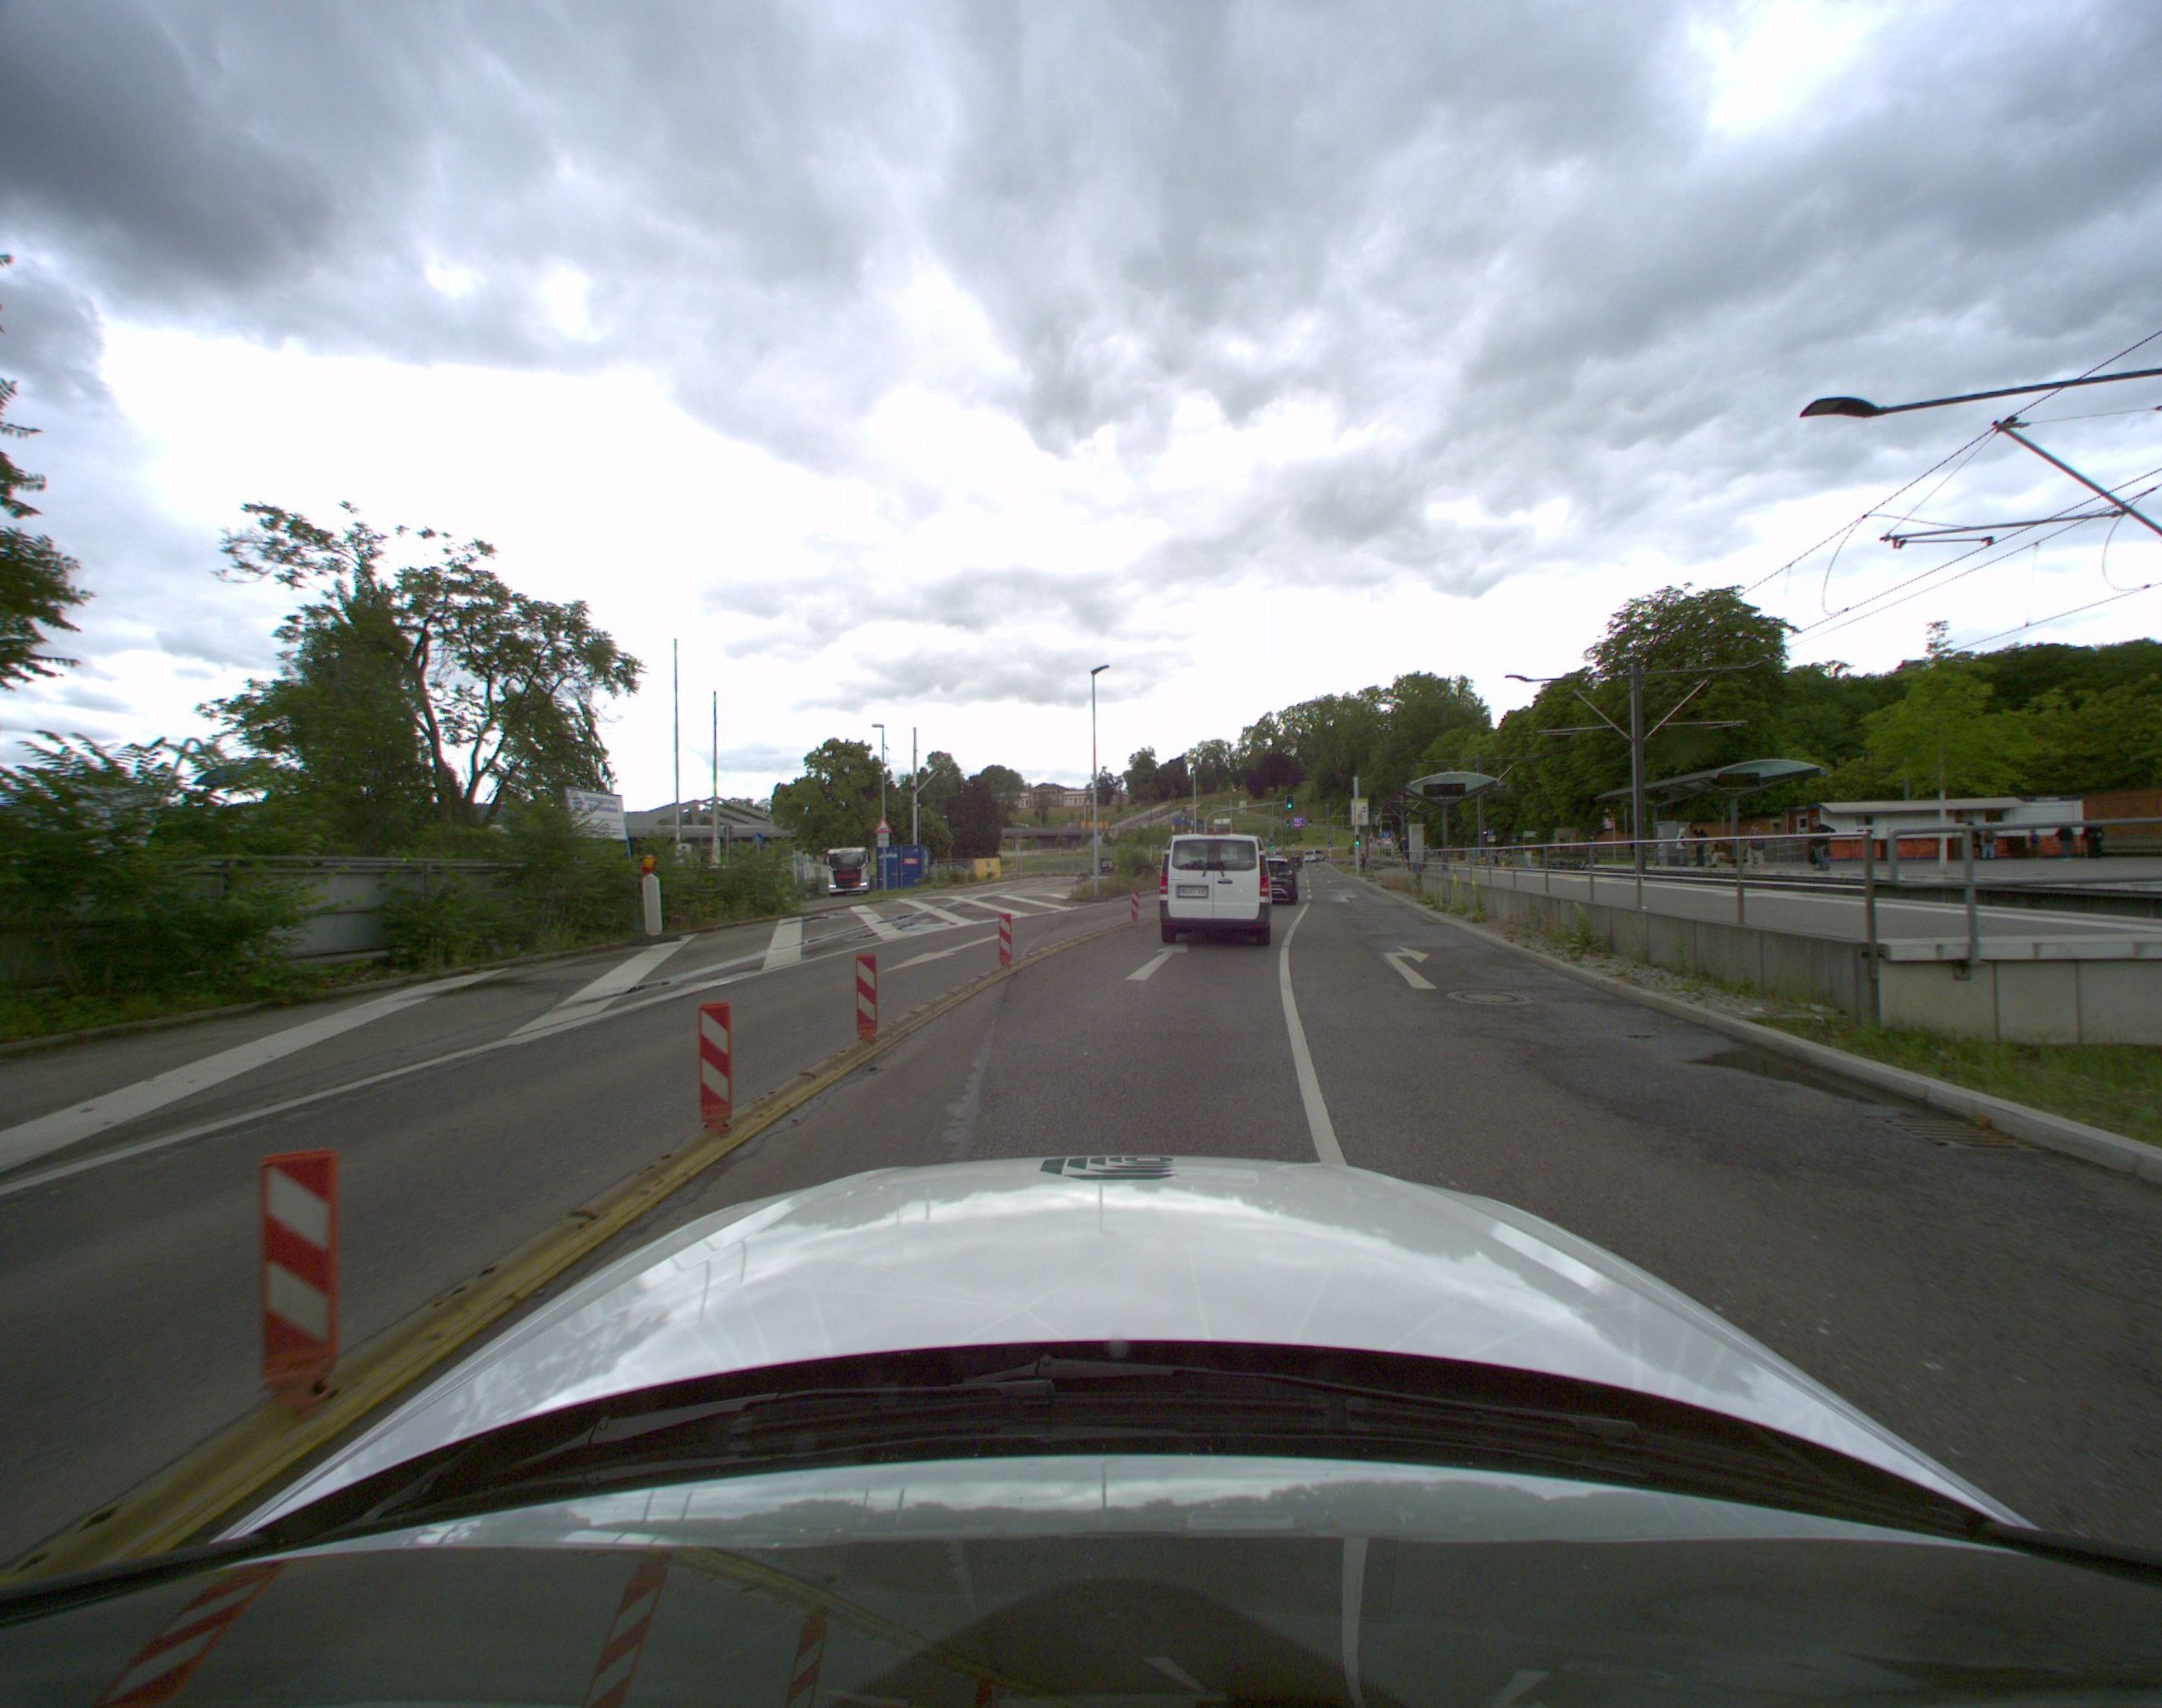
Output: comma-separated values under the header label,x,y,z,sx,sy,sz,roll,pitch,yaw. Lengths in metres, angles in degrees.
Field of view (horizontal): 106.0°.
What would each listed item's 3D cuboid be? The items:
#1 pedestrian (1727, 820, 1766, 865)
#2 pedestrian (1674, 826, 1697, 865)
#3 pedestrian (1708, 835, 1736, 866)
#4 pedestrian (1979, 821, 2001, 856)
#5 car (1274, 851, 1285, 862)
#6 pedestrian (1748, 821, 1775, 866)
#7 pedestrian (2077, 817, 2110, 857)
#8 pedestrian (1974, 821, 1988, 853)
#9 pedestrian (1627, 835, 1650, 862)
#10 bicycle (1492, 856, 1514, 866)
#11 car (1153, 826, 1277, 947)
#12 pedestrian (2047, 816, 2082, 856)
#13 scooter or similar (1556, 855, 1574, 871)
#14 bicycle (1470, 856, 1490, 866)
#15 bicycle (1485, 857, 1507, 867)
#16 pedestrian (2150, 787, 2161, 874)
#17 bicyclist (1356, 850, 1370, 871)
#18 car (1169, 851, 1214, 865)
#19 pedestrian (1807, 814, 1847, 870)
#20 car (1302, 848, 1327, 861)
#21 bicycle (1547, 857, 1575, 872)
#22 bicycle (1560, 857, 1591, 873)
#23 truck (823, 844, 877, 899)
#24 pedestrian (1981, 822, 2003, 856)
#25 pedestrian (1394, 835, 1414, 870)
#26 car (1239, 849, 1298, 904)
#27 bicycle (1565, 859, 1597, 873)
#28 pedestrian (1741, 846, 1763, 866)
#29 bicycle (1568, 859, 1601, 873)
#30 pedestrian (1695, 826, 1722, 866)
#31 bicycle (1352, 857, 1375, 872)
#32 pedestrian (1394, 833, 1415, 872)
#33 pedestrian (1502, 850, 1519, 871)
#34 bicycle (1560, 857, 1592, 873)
label,x,y,z,sx,sy,sz,roll,pitch,yaw
pedestrian,25.288,-0.414,30.969,0.856,1.677,0.763,1,-1,5
pedestrian,26.010,-0.363,35.054,0.540,1.677,0.678,1,-1,12
pedestrian,24.951,-0.126,31.687,0.652,1.191,0.678,1,-1,17
pedestrian,40.612,-0.683,36.386,0.481,1.535,0.462,1,-1,18
car,34.152,0.431,140.134,1.741,1.772,4.012,1,0,11
pedestrian,24.869,-0.362,29.783,0.520,1.620,0.678,1,-1,17
pedestrian,40.455,-0.672,32.545,0.581,1.583,0.623,1,-1,3
pedestrian,41.029,-0.774,37.124,0.339,1.487,0.317,1,-1,18
pedestrian,27.840,-0.262,40.685,0.668,1.323,0.972,1,-1,14
bicycle,41.953,0.725,81.014,1.898,0.896,0.533,-2,-1,16
car,2.598,0.525,15.228,1.946,1.904,4.476,0,0,12
pedestrian,39.816,-0.707,32.963,0.652,1.583,0.622,1,-1,2
scooter or similar,36.904,0.681,62.072,1.151,1.139,0.335,1,-1,40
bicycle,43.563,0.743,88.905,1.898,0.975,0.533,-2,-1,16
bicycle,42.140,0.780,82.795,1.898,0.975,0.533,-2,-1,16
pedestrian,21.256,-0.449,15.554,0.628,1.687,0.869,1,-1,15
bicyclist,21.756,0.518,62.863,0.807,1.572,0.613,-1,0,-24
car,12.688,0.478,93.327,4.666,1.477,2.012,-2,0,25
pedestrian,24.694,-0.390,26.973,0.628,1.838,0.954,1,-1,17
car,36.669,0.086,127.861,2.179,2.014,5.184,-1,-1,36
bicycle,36.099,0.787,61.262,1.750,1.034,0.485,1,-1,16
bicycle,35.754,0.780,58.908,1.859,1.139,0.535,1,-1,16
truck,-15.664,1.126,55.665,2.795,3.336,8.443,-3,0,-12
pedestrian,40.240,-0.669,35.963,0.481,1.487,0.462,1,-1,18
pedestrian,14.676,-0.073,37.044,0.744,1.553,0.778,1,1,17
car,6.535,0.737,28.073,1.825,1.729,4.078,0,0,15
bicycle,35.117,0.843,57.217,1.859,0.963,0.535,1,-1,16
pedestrian,25.462,0.067,30.894,0.556,0.740,0.427,1,-1,25
bicycle,34.940,0.845,56.509,1.859,0.963,0.535,1,-1,16
pedestrian,26.731,-0.337,34.702,0.669,1.677,0.679,1,-1,12
bicycle,21.811,0.800,62.883,1.686,1.074,0.615,-2,0,-24
pedestrian,14.423,-0.064,36.308,0.764,1.699,0.735,1,1,17
pedestrian,33.888,0.522,64.204,0.831,1.609,0.776,-2,-1,-7
bicycle,35.279,0.774,58.044,1.859,1.139,0.535,1,-1,16
